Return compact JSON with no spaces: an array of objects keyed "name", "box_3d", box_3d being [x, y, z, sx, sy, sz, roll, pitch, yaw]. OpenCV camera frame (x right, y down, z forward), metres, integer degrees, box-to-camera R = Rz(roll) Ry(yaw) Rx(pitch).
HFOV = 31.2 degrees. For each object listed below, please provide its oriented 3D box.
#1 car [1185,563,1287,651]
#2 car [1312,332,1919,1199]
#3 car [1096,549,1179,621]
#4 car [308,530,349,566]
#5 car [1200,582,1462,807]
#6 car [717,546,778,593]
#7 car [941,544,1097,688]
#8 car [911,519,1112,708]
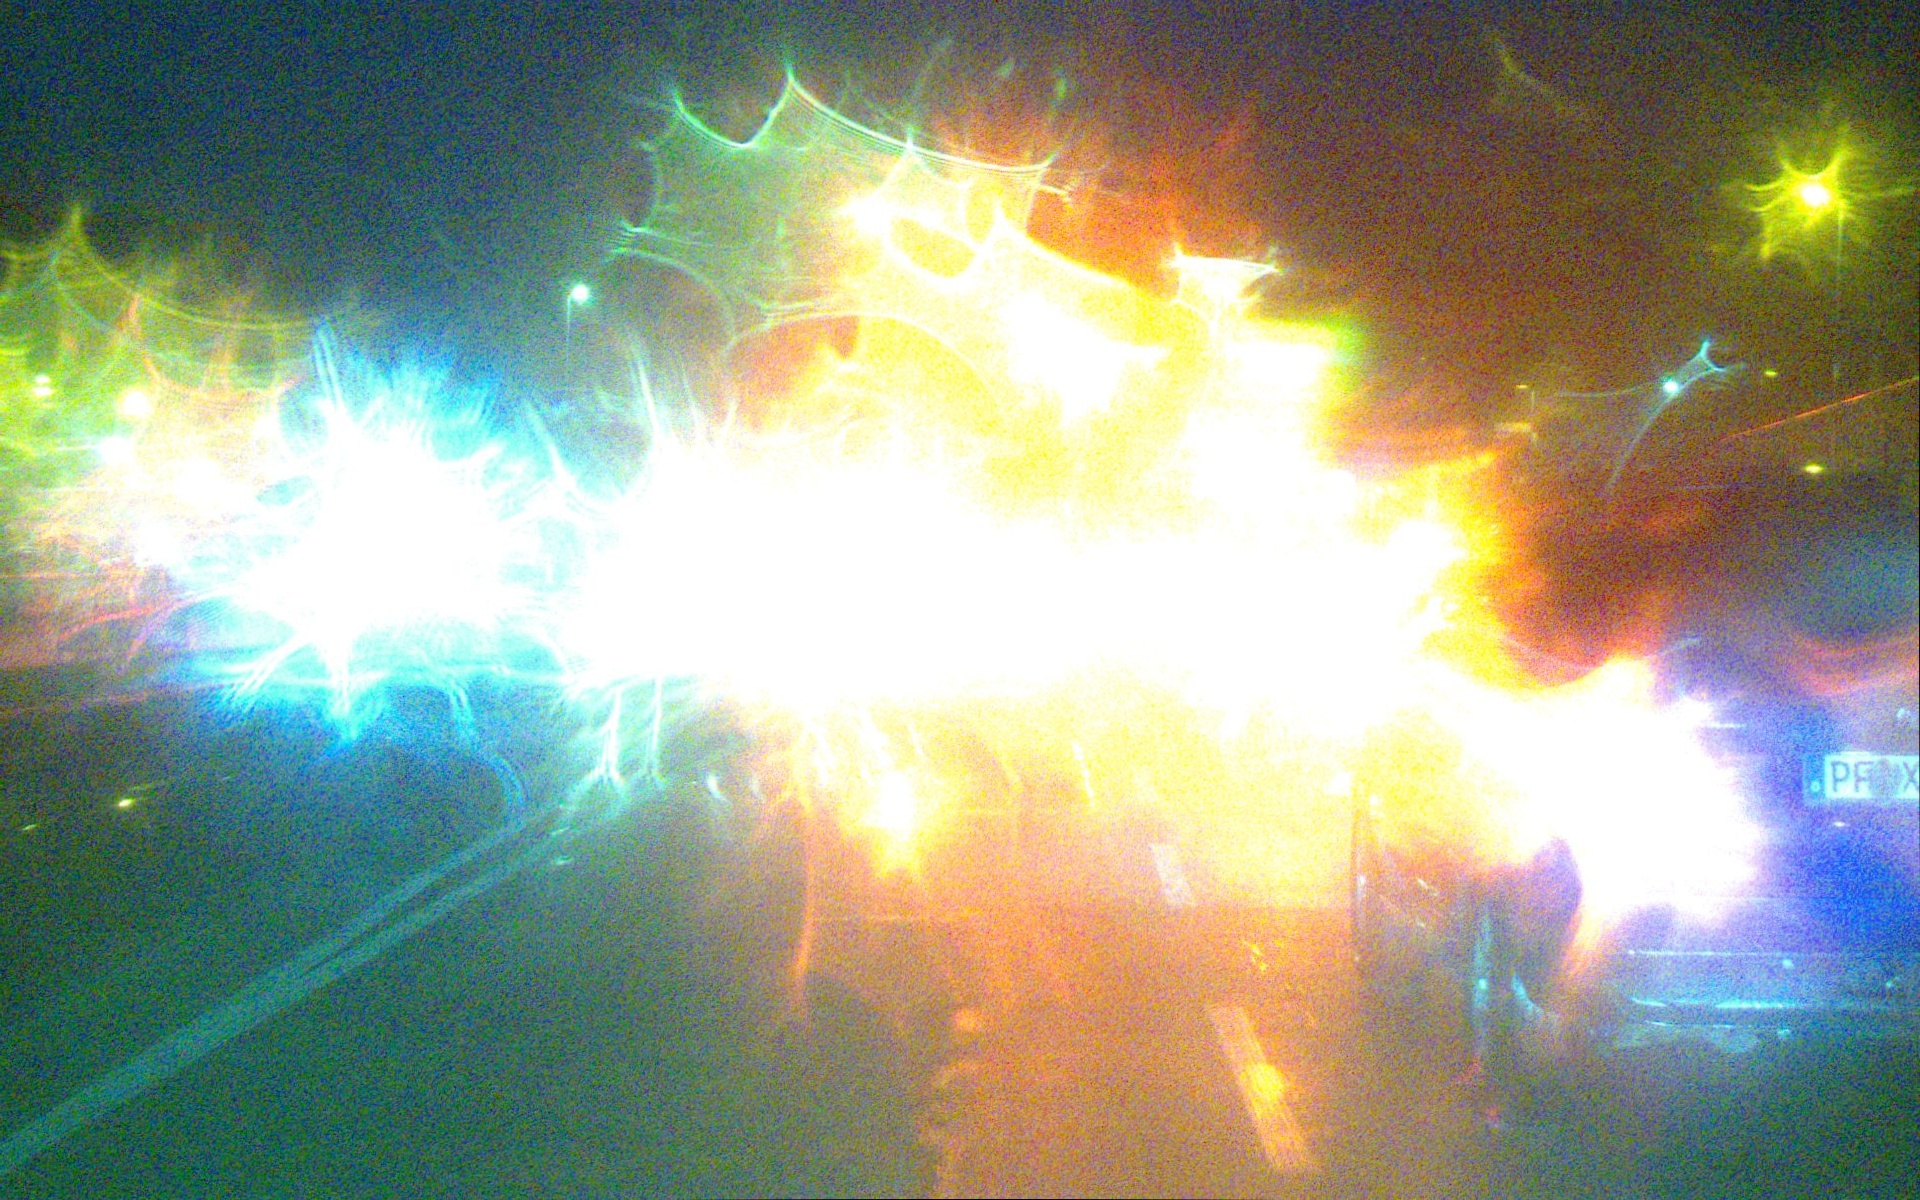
[{"name":"car","box_3d":[4.701,0.108,58.449,1.663,1.445,4.049,0,0,5]},{"name":"car","box_3d":[2.255,0.340,9.942,1.942,1.965,4.218,1,1,-1]},{"name":"car","box_3d":[3.698,-0.313,71.989,1.663,1.445,4.049,1,0,3]},{"name":"car","box_3d":[-34.690,-2.865,188.854,1.993,1.905,4.744,0,1,-8]},{"name":"car","box_3d":[2.773,0.635,25.661,1.768,1.445,4.217,1,1,6]},{"name":"car","box_3d":[-7.082,-1.016,114.269,1.708,1.494,3.731,-1,1,-8]},{"name":"car","box_3d":[0.755,0.160,41.678,1.709,1.632,3.730,-1,1,3]},{"name":"car","box_3d":[0.531,0.103,31.965,1.694,1.624,3.852,1,0,3]}]
